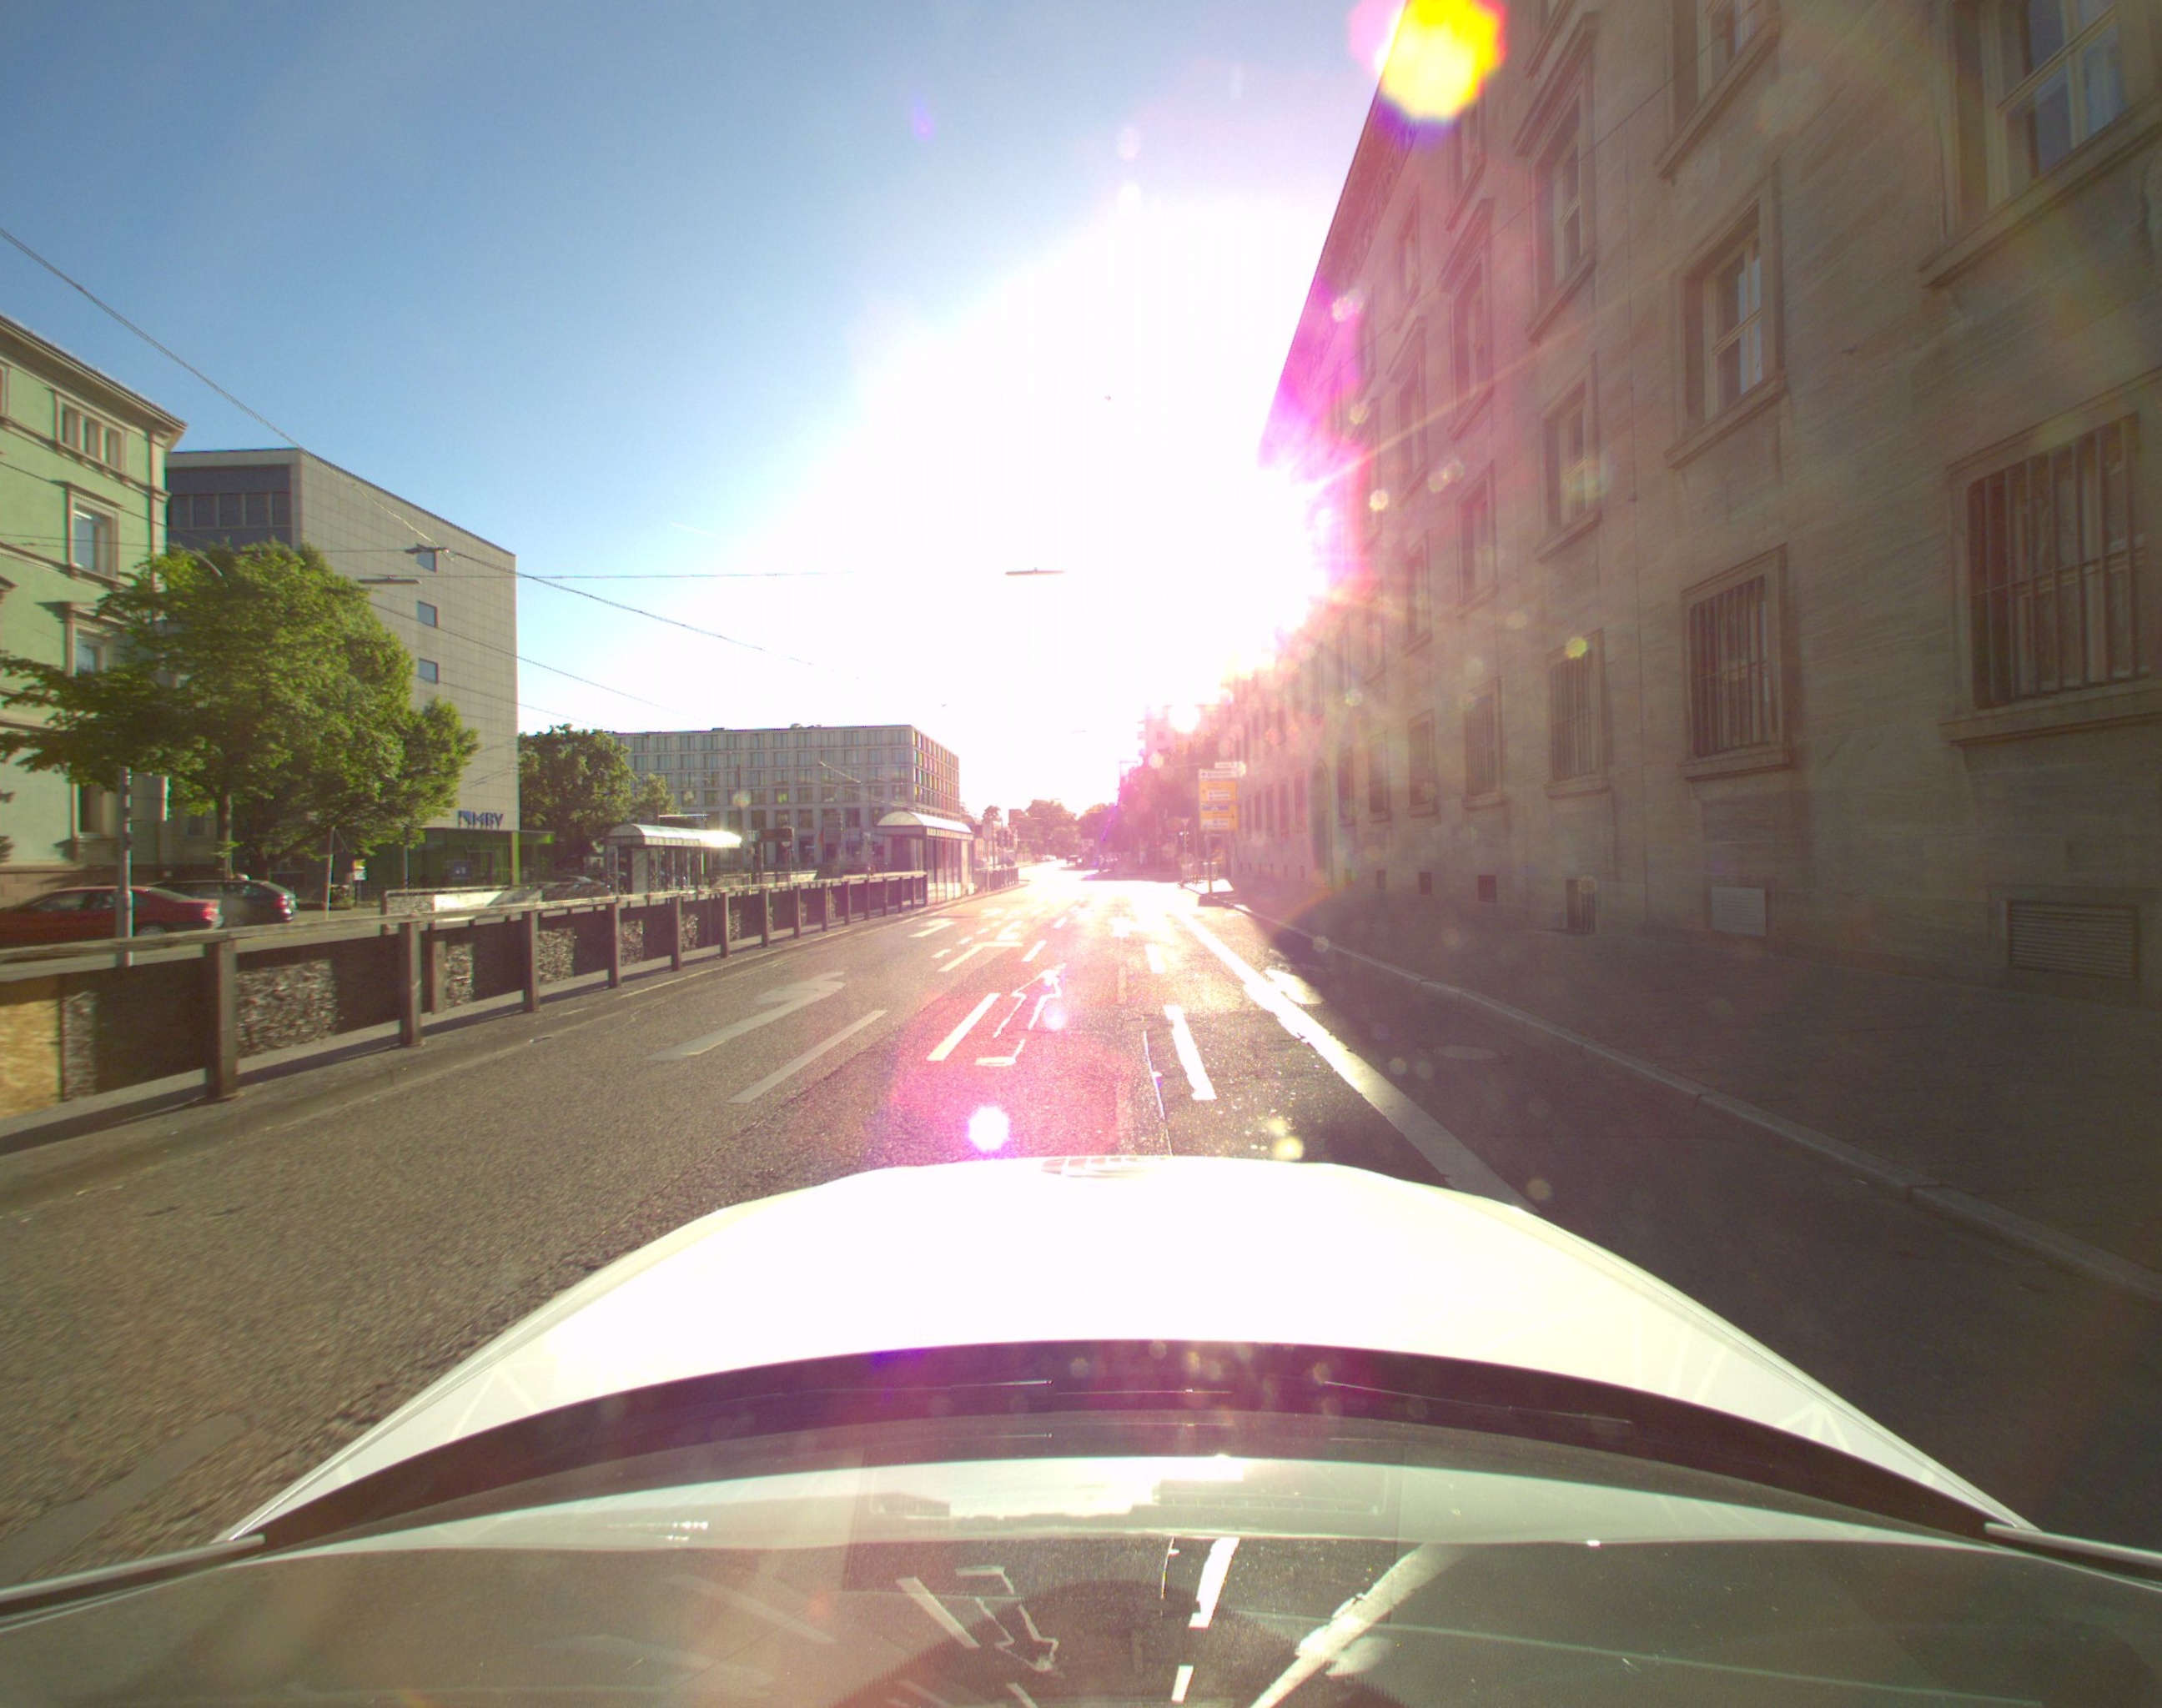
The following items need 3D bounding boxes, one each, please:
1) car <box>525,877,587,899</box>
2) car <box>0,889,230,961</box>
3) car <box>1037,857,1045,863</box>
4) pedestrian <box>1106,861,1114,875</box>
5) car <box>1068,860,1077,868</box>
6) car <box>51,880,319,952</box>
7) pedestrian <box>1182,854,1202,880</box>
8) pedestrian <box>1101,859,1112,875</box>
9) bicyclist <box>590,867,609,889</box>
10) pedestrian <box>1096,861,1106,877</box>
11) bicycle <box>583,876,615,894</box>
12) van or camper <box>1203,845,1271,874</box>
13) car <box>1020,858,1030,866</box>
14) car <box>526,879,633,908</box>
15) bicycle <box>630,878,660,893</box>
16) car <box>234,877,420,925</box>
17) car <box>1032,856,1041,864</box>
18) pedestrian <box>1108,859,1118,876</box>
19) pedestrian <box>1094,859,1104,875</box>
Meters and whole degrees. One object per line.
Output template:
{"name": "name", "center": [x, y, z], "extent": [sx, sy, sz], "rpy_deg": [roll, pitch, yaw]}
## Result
{"name": "car", "center": [-38.953, 2.525, 60.459], "extent": [3.518, 1.506, 1.522], "rpy_deg": [-1, 0, 0]}
{"name": "car", "center": [-22.625, 1.553, 18.341], "extent": [4.537, 1.426, 1.852], "rpy_deg": [1, -2, -38]}
{"name": "car", "center": [-10.121, 1.445, 205.790], "extent": [1.603, 1.498, 3.808], "rpy_deg": [-2, 0, 3]}
{"name": "pedestrian", "center": [3.302, 1.619, 91.885], "extent": [0.763, 1.558, 0.585], "rpy_deg": [-2, -1, -14]}
{"name": "car", "center": [-1.831, 2.238, 178.350], "extent": [1.677, 1.737, 3.511], "rpy_deg": [0, -1, 3]}
{"name": "car", "center": [-22.928, 1.514, 21.171], "extent": [4.540, 1.642, 1.571], "rpy_deg": [1, -2, -43]}
{"name": "pedestrian", "center": [7.624, 0.873, 55.847], "extent": [1.039, 1.721, 1.032], "rpy_deg": [-2, 0, -9]}
{"name": "pedestrian", "center": [2.791, 1.417, 90.098], "extent": [0.967, 1.784, 0.776], "rpy_deg": [-2, -1, -14]}
{"name": "bicyclist", "center": [-38.057, 1.917, 64.382], "extent": [0.885, 1.695, 0.846], "rpy_deg": [-2, 0, 8]}
{"name": "pedestrian", "center": [2.227, 1.690, 91.464], "extent": [0.849, 1.784, 0.776], "rpy_deg": [-2, -1, -14]}
{"name": "bicycle", "center": [-38.079, 2.456, 64.348], "extent": [2.036, 1.288, 0.888], "rpy_deg": [-2, 0, 7]}
{"name": "van or camper", "center": [15.792, 0.563, 82.787], "extent": [6.672, 2.862, 2.916], "rpy_deg": [0, -1, 7]}
{"name": "car", "center": [-13.073, 1.860, 189.808], "extent": [1.812, 1.712, 3.808], "rpy_deg": [-2, 0, 3]}
{"name": "car", "center": [-25.286, 1.953, 41.211], "extent": [4.529, 1.350, 1.575], "rpy_deg": [0, -2, -30]}
{"name": "bicycle", "center": [-34.159, 2.459, 63.872], "extent": [1.913, 1.122, 0.791], "rpy_deg": [-2, 0, 6]}
{"name": "car", "center": [-26.415, 1.601, 28.751], "extent": [4.529, 1.570, 1.575], "rpy_deg": [0, -2, -30]}
{"name": "car", "center": [-11.063, 1.494, 201.499], "extent": [1.812, 1.712, 3.808], "rpy_deg": [-2, 0, 3]}
{"name": "pedestrian", "center": [3.553, 1.500, 91.110], "extent": [0.849, 1.784, 0.776], "rpy_deg": [-2, -1, -14]}
{"name": "pedestrian", "center": [2.053, 1.455, 92.346], "extent": [0.849, 1.784, 0.776], "rpy_deg": [-2, -1, -14]}
